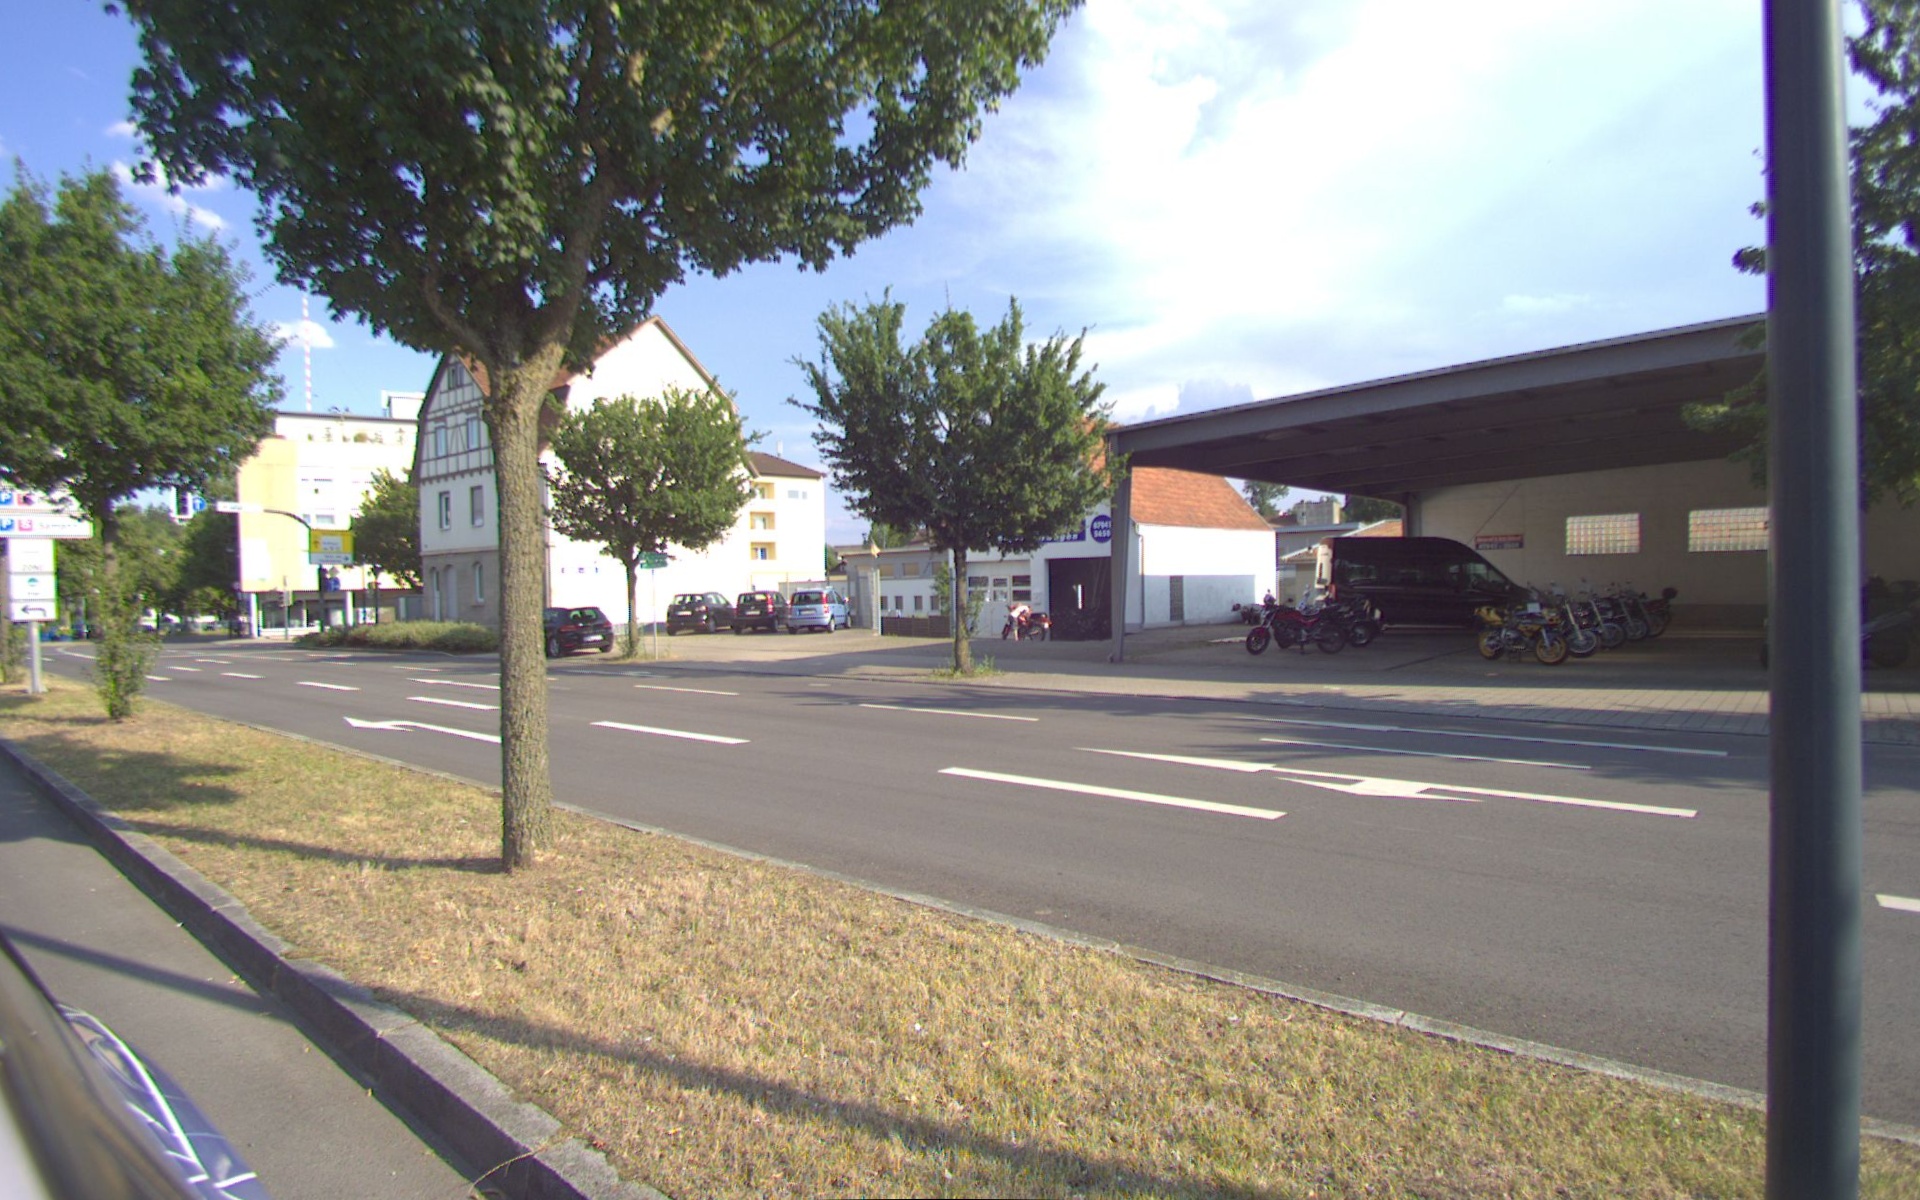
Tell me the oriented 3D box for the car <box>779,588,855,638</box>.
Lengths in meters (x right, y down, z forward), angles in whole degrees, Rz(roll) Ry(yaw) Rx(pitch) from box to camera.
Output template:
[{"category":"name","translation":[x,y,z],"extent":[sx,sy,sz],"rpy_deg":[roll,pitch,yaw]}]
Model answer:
[{"category":"car","translation":[-5.002,0.421,35.978],"extent":[1.797,1.512,3.819],"rpy_deg":[-2,2,5]}]

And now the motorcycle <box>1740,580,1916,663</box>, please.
[{"category":"motorcycle","translation":[14.585,0.367,17.066],"extent":[2.103,1.306,0.628],"rpy_deg":[-3,-1,18]}]

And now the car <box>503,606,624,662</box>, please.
[{"category":"car","translation":[-11.924,0.975,30.383],"extent":[3.823,1.462,1.795],"rpy_deg":[-1,2,42]}]

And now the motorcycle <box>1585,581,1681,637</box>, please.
[{"category":"motorcycle","translation":[16.967,0.212,25.592],"extent":[0.621,1.347,2.269],"rpy_deg":[-1,0,-9]}]

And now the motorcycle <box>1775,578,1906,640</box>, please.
[{"category":"motorcycle","translation":[19.903,0.214,22.931],"extent":[2.103,1.306,0.628],"rpy_deg":[-3,-1,18]}]

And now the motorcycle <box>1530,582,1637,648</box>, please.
[{"category":"motorcycle","translation":[13.538,0.315,22.060],"extent":[0.621,1.347,2.269],"rpy_deg":[-1,0,-9]}]

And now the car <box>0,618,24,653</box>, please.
[{"category":"car","translation":[-47.354,1.737,47.994],"extent":[1.849,1.644,3.968],"rpy_deg":[-1,0,23]}]

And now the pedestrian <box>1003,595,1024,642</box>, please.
[{"category":"pedestrian","translation":[1.751,0.604,33.062],"extent":[0.485,1.530,0.496],"rpy_deg":[-1,0,41]}]

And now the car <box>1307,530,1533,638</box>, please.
[{"category":"car","translation":[12.545,-0.405,27.918],"extent":[5.221,2.773,1.996],"rpy_deg":[-1,0,7]}]

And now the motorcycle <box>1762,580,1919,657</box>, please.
[{"category":"motorcycle","translation":[16.203,0.347,18.638],"extent":[2.103,1.306,0.628],"rpy_deg":[-3,-1,18]}]

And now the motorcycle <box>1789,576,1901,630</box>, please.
[{"category":"motorcycle","translation":[23.411,0.081,26.807],"extent":[2.103,1.306,0.628],"rpy_deg":[-3,-1,18]}]

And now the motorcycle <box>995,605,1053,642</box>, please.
[{"category":"motorcycle","translation":[2.112,0.767,33.508],"extent":[1.974,1.194,0.577],"rpy_deg":[-1,0,41]}]

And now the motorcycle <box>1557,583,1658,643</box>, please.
[{"category":"motorcycle","translation":[15.212,0.293,23.869],"extent":[0.621,1.347,2.269],"rpy_deg":[-1,0,-9]}]

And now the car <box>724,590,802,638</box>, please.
[{"category":"car","translation":[-7.240,0.476,37.610],"extent":[1.797,1.512,3.819],"rpy_deg":[-2,2,5]}]

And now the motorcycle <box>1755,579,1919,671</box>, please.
[{"category":"motorcycle","translation":[13.532,0.382,15.407],"extent":[2.103,1.306,0.628],"rpy_deg":[-3,-1,18]}]

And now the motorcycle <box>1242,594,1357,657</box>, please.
[{"category":"motorcycle","translation":[7.170,0.534,21.455],"extent":[2.202,1.290,0.629],"rpy_deg":[-1,0,11]}]

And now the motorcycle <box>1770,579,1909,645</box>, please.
[{"category":"motorcycle","translation":[18.709,0.263,21.577],"extent":[2.103,1.306,0.628],"rpy_deg":[-3,-1,18]}]

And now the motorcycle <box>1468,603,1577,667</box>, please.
[{"category":"motorcycle","translation":[10.203,0.608,18.445],"extent":[0.621,1.095,2.038],"rpy_deg":[-1,0,-7]}]

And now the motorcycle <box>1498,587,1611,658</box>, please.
[{"category":"motorcycle","translation":[11.831,0.427,20.248],"extent":[0.621,1.347,2.269],"rpy_deg":[-1,0,-9]}]

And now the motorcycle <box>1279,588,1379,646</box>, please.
[{"category":"motorcycle","translation":[9.054,0.422,24.901],"extent":[2.198,1.372,0.630],"rpy_deg":[-1,0,5]}]

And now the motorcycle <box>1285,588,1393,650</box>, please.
[{"category":"motorcycle","translation":[8.631,0.424,23.098],"extent":[2.198,1.372,0.630],"rpy_deg":[-1,0,5]}]

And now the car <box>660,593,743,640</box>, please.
[{"category":"car","translation":[-9.641,0.573,38.003],"extent":[1.797,1.512,3.819],"rpy_deg":[-2,2,5]}]
